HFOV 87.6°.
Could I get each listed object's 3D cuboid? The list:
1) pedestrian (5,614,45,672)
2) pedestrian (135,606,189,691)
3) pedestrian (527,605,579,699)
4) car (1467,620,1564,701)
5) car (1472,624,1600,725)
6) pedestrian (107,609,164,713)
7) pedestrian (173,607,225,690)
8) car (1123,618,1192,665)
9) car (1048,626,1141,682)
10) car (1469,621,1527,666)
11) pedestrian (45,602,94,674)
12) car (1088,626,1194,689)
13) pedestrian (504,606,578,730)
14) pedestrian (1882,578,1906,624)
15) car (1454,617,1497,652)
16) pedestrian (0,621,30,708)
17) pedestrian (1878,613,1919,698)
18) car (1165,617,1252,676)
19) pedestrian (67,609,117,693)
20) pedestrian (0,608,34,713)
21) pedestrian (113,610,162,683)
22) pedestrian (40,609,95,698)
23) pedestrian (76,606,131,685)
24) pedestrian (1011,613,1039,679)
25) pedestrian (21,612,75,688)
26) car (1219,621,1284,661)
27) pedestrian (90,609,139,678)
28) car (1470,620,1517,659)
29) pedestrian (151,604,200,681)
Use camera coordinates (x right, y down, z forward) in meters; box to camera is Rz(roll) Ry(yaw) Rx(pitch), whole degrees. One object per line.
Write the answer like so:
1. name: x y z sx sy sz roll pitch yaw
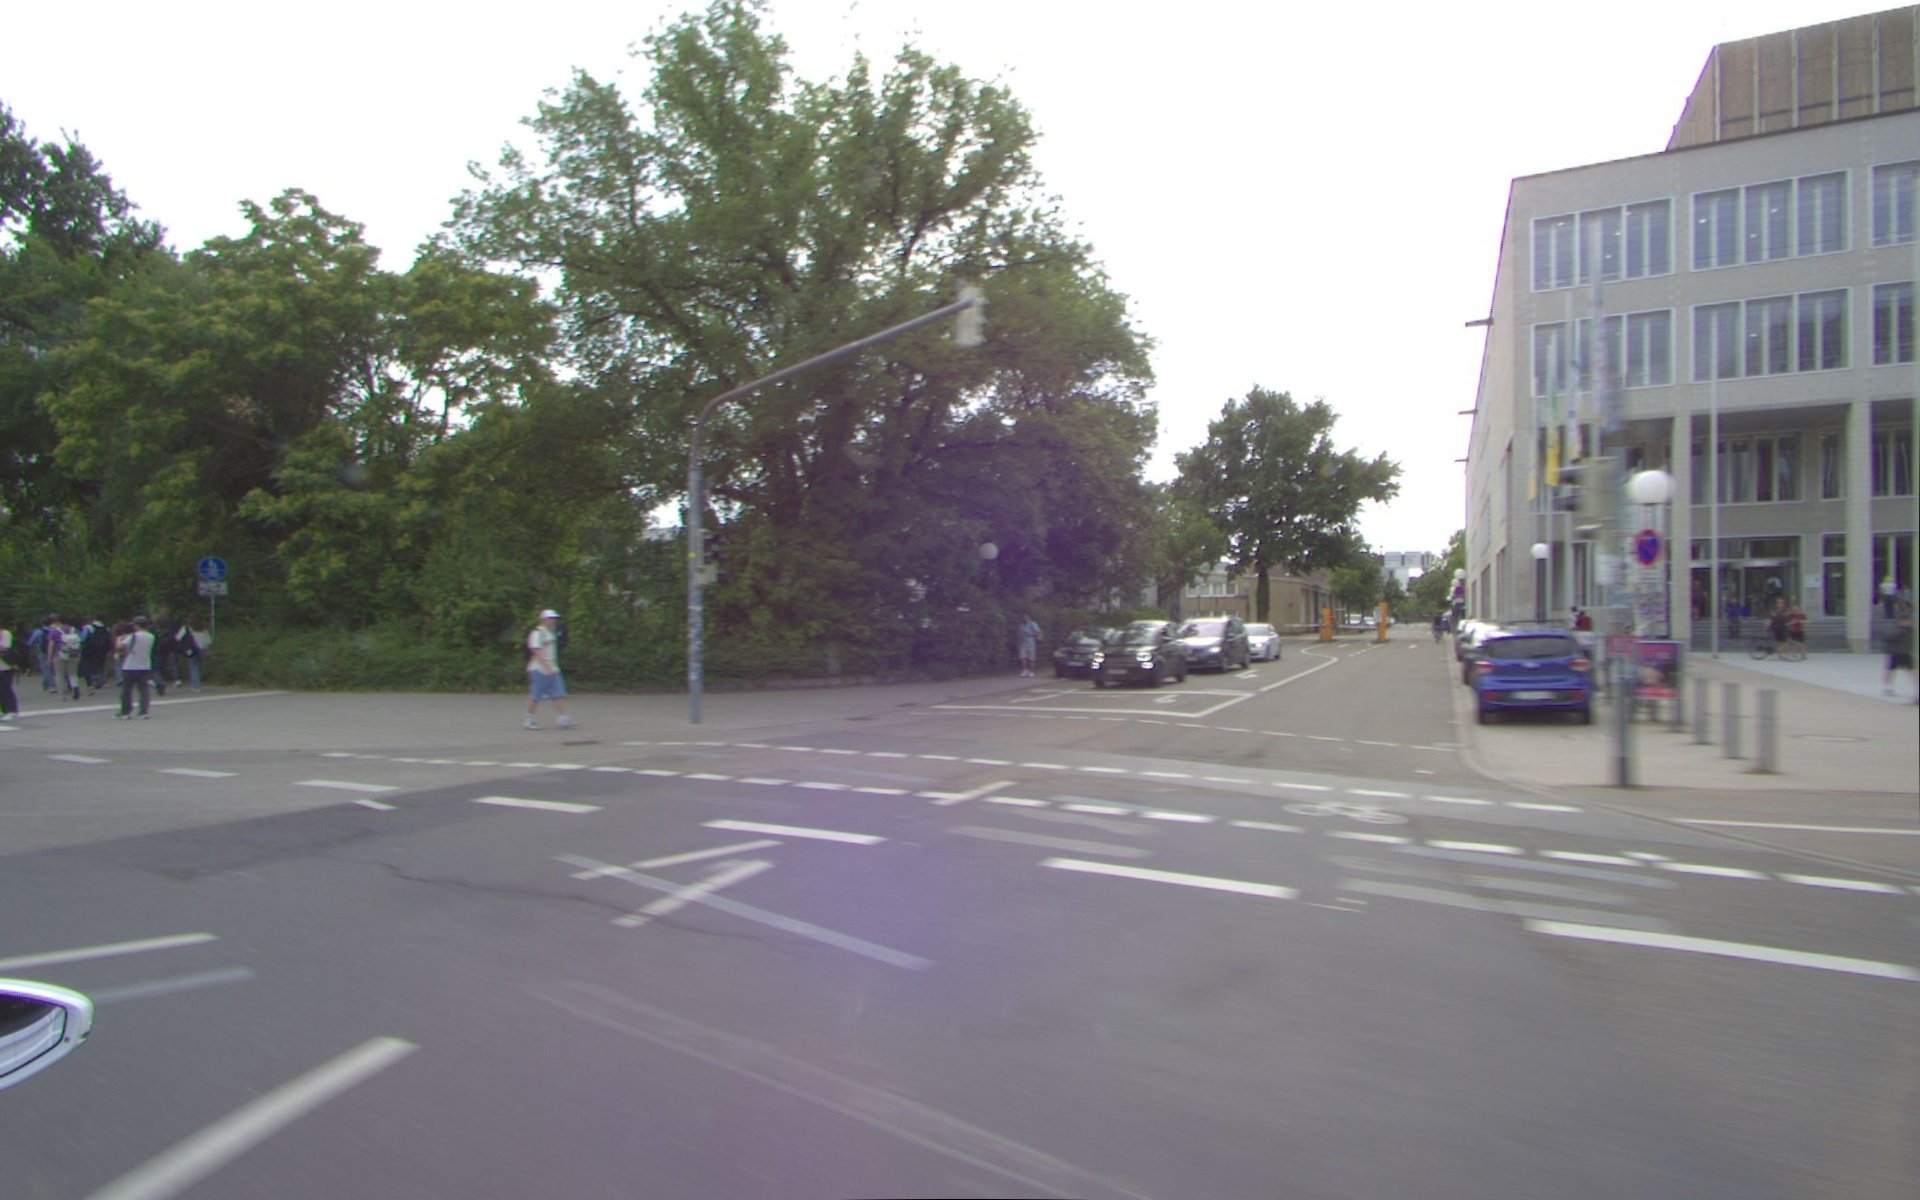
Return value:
1. pedestrian: -26.552 1.215 28.442 0.774 1.604 0.634 0 0 31
2. pedestrian: -16.953 1.021 21.278 0.768 1.768 0.656 0 0 28
3. pedestrian: -8.085 1.018 19.911 0.729 1.818 0.644 0 -1 28
4. car: 11.900 1.245 21.615 1.648 1.587 3.683 -1 -2 27
5. car: 9.623 1.188 16.957 1.648 1.510 3.571 -1 -2 27
6. pedestrian: -13.945 1.018 16.933 0.627 1.709 0.545 0 -1 28
7. pedestrian: -16.626 1.051 21.882 0.768 1.768 0.656 0 0 28
8. car: 7.416 1.528 37.351 1.544 1.625 3.886 1 -1 26
9. car: 4.162 1.568 30.385 1.523 1.498 4.094 3 0 26
10. car: 20.434 1.640 38.152 1.786 1.587 4.214 -1 -2 27
11. pedestrian: -21.603 0.916 24.291 0.829 1.711 0.656 0 0 28
12. car: 4.640 1.406 25.340 1.658 1.460 3.570 -1 -2 28
13. pedestrian: -6.542 1.047 15.647 0.814 1.876 0.646 0 -2 16
14. pedestrian: 36.278 0.063 38.891 0.625 1.736 0.666 -1 -2 45
15. car: 24.434 1.638 47.520 1.726 1.587 3.976 -1 -2 27
16. pedestrian: -19.750 1.315 20.631 0.768 1.768 0.656 0 0 28
17. pedestrian: 19.694 1.148 20.910 0.946 1.729 0.695 2 -2 -44
18. car: 7.805 1.414 31.165 1.658 1.714 4.280 -1 -2 28
19. pedestrian: -18.768 1.090 21.650 0.777 1.768 0.580 0 0 28
20. pedestrian: -16.264 1.020 17.122 0.627 1.757 0.454 0 -1 28
21. pedestrian: -19.598 1.093 23.863 0.768 1.721 0.656 0 0 28
22. pedestrian: -18.074 1.069 20.282 0.768 1.768 0.624 0 0 28
23. pedestrian: -19.871 1.044 23.235 0.943 1.790 0.656 0 1 28
24. pedestrian: 1.888 1.326 29.142 0.718 1.875 0.801 0 -1 11
25. pedestrian: -20.282 1.095 22.276 0.800 1.670 0.656 0 0 28
26. car: 11.116 1.547 38.105 1.658 1.460 3.770 -1 -2 28
27. pedestrian: -21.195 1.075 25.102 0.956 1.688 0.656 0 0 28
28. car: 22.865 1.673 43.000 1.648 1.587 3.976 -1 -2 27
29. pedestrian: -18.341 0.991 23.426 0.768 1.768 0.656 0 0 28
